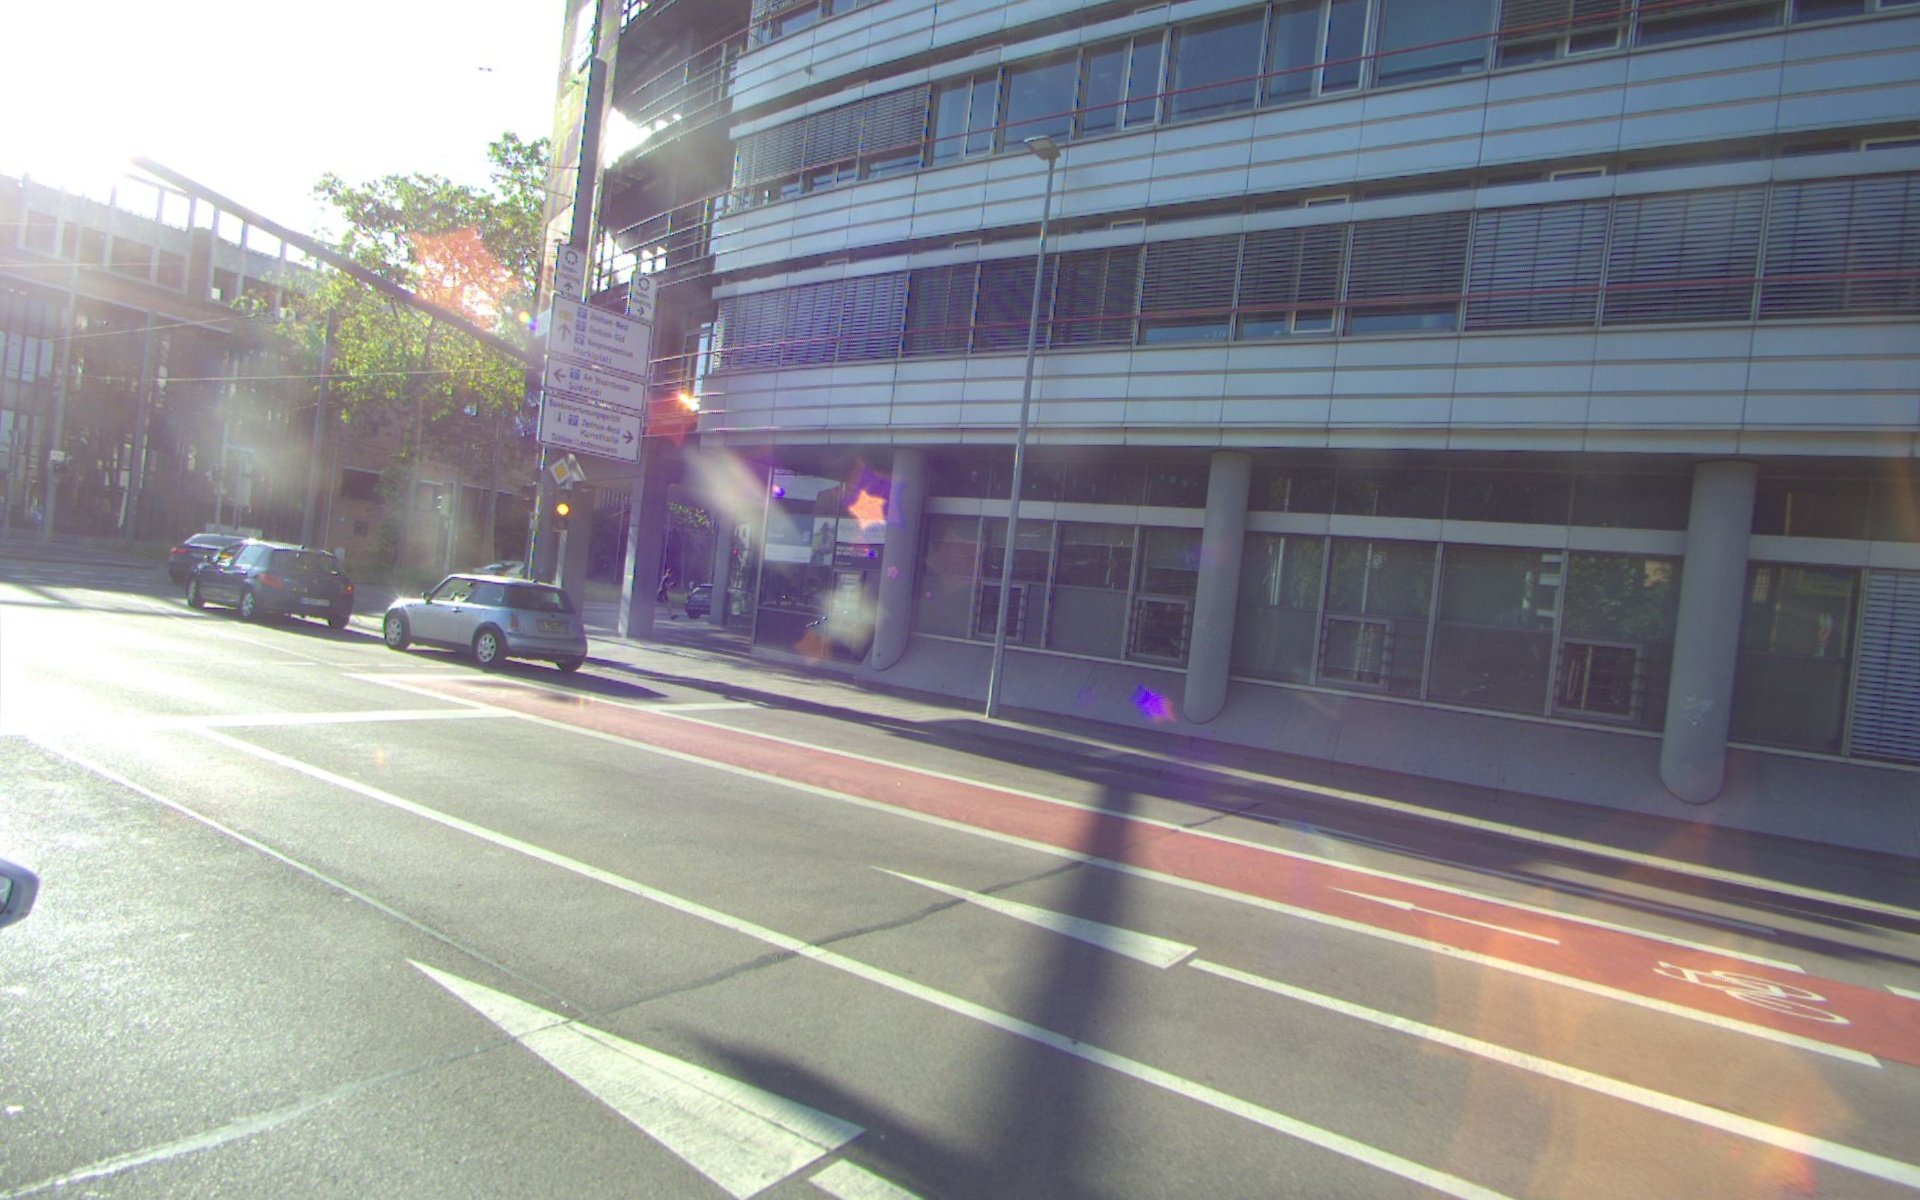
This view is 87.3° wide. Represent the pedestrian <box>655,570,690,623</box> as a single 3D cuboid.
[{"bbox_3d":[-10.146,-0.135,35.532,0.578,1.754,0.790,6,-2,40],"label":"pedestrian"}]

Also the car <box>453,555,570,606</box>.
[{"bbox_3d":[-17.133,-0.704,38.640,1.669,1.492,3.982,6,-1,20],"label":"car"}]

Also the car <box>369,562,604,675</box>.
[{"bbox_3d":[-7.788,0.304,16.525,3.476,1.405,1.665,6,-2,29],"label":"car"}]

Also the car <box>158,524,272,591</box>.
[{"bbox_3d":[-19.933,-1.107,27.080,1.680,1.457,3.993,7,-2,-27],"label":"car"}]

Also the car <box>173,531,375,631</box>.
[{"bbox_3d":[-13.607,-0.394,19.910,3.913,1.493,1.863,6,0,33],"label":"car"}]

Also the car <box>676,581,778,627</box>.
[{"bbox_3d":[-9.831,0.200,42.739,1.837,1.492,3.968,6,-1,33],"label":"car"}]
